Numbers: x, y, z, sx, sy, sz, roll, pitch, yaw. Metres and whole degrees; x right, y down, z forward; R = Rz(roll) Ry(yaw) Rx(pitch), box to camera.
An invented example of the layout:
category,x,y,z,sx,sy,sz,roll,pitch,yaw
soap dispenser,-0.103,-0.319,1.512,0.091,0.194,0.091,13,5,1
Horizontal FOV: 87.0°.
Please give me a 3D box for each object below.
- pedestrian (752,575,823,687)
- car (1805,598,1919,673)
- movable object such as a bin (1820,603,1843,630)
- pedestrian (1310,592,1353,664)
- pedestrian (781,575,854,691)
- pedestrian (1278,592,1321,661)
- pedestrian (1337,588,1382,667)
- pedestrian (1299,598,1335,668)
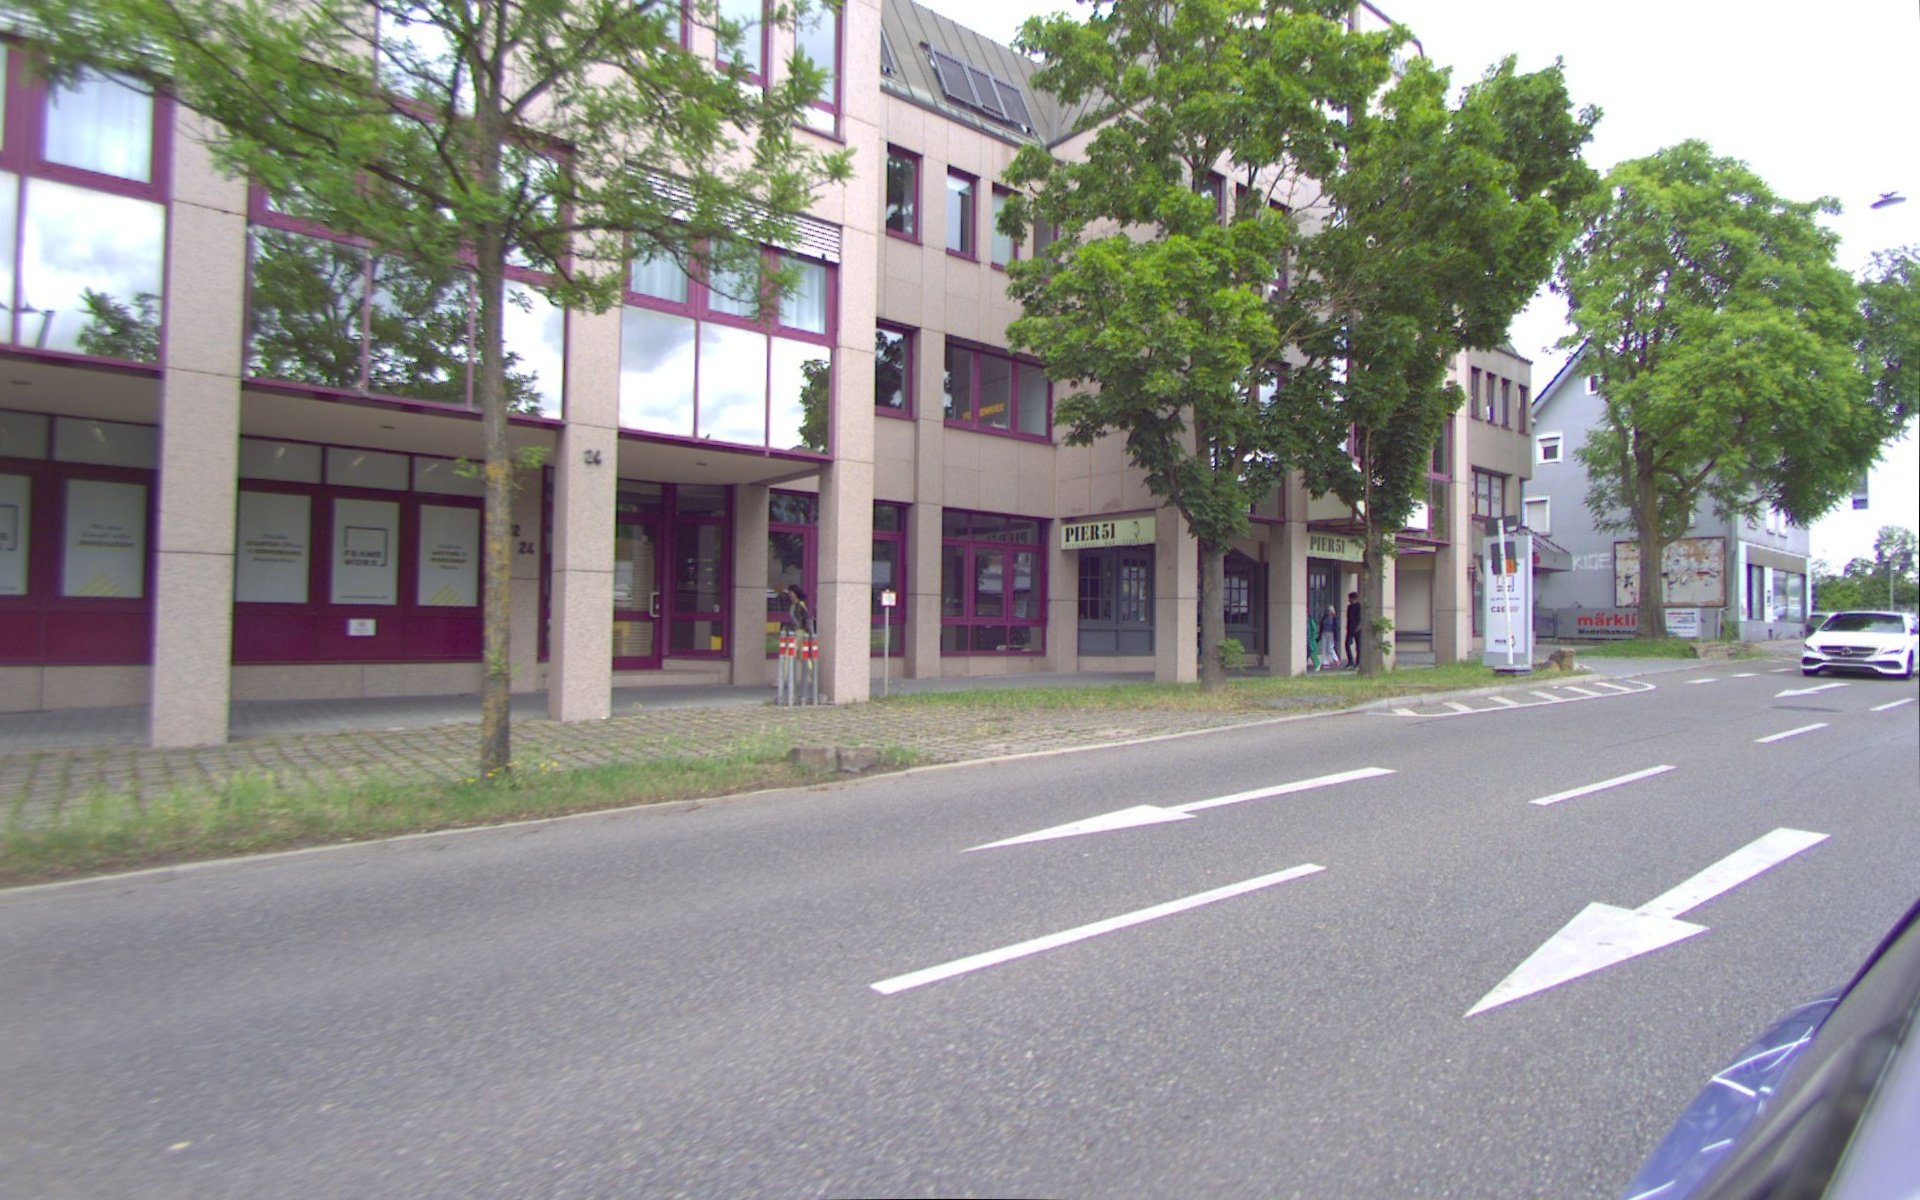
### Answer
category,x,y,z,sx,sy,sz,roll,pitch,yaw
pedestrian,-2.742,0.482,16.107,0.952,1.726,0.596,1,-1,-38
car,20.543,0.705,22.451,4.613,1.491,1.798,0,0,-38
movable object such as a bin,36.854,0.691,42.800,0.697,1.118,0.610,0,-2,-39
pedestrian,9.197,0.676,25.046,0.827,1.712,0.659,0,1,-38
pedestrian,-2.198,0.500,15.612,0.952,1.726,0.596,1,-1,-38
pedestrian,8.612,0.658,25.670,0.827,1.712,0.659,0,1,-38
pedestrian,9.613,0.649,24.329,0.827,1.849,0.659,0,1,-38
pedestrian,8.270,0.750,23.431,0.534,1.569,0.562,0,1,-38
